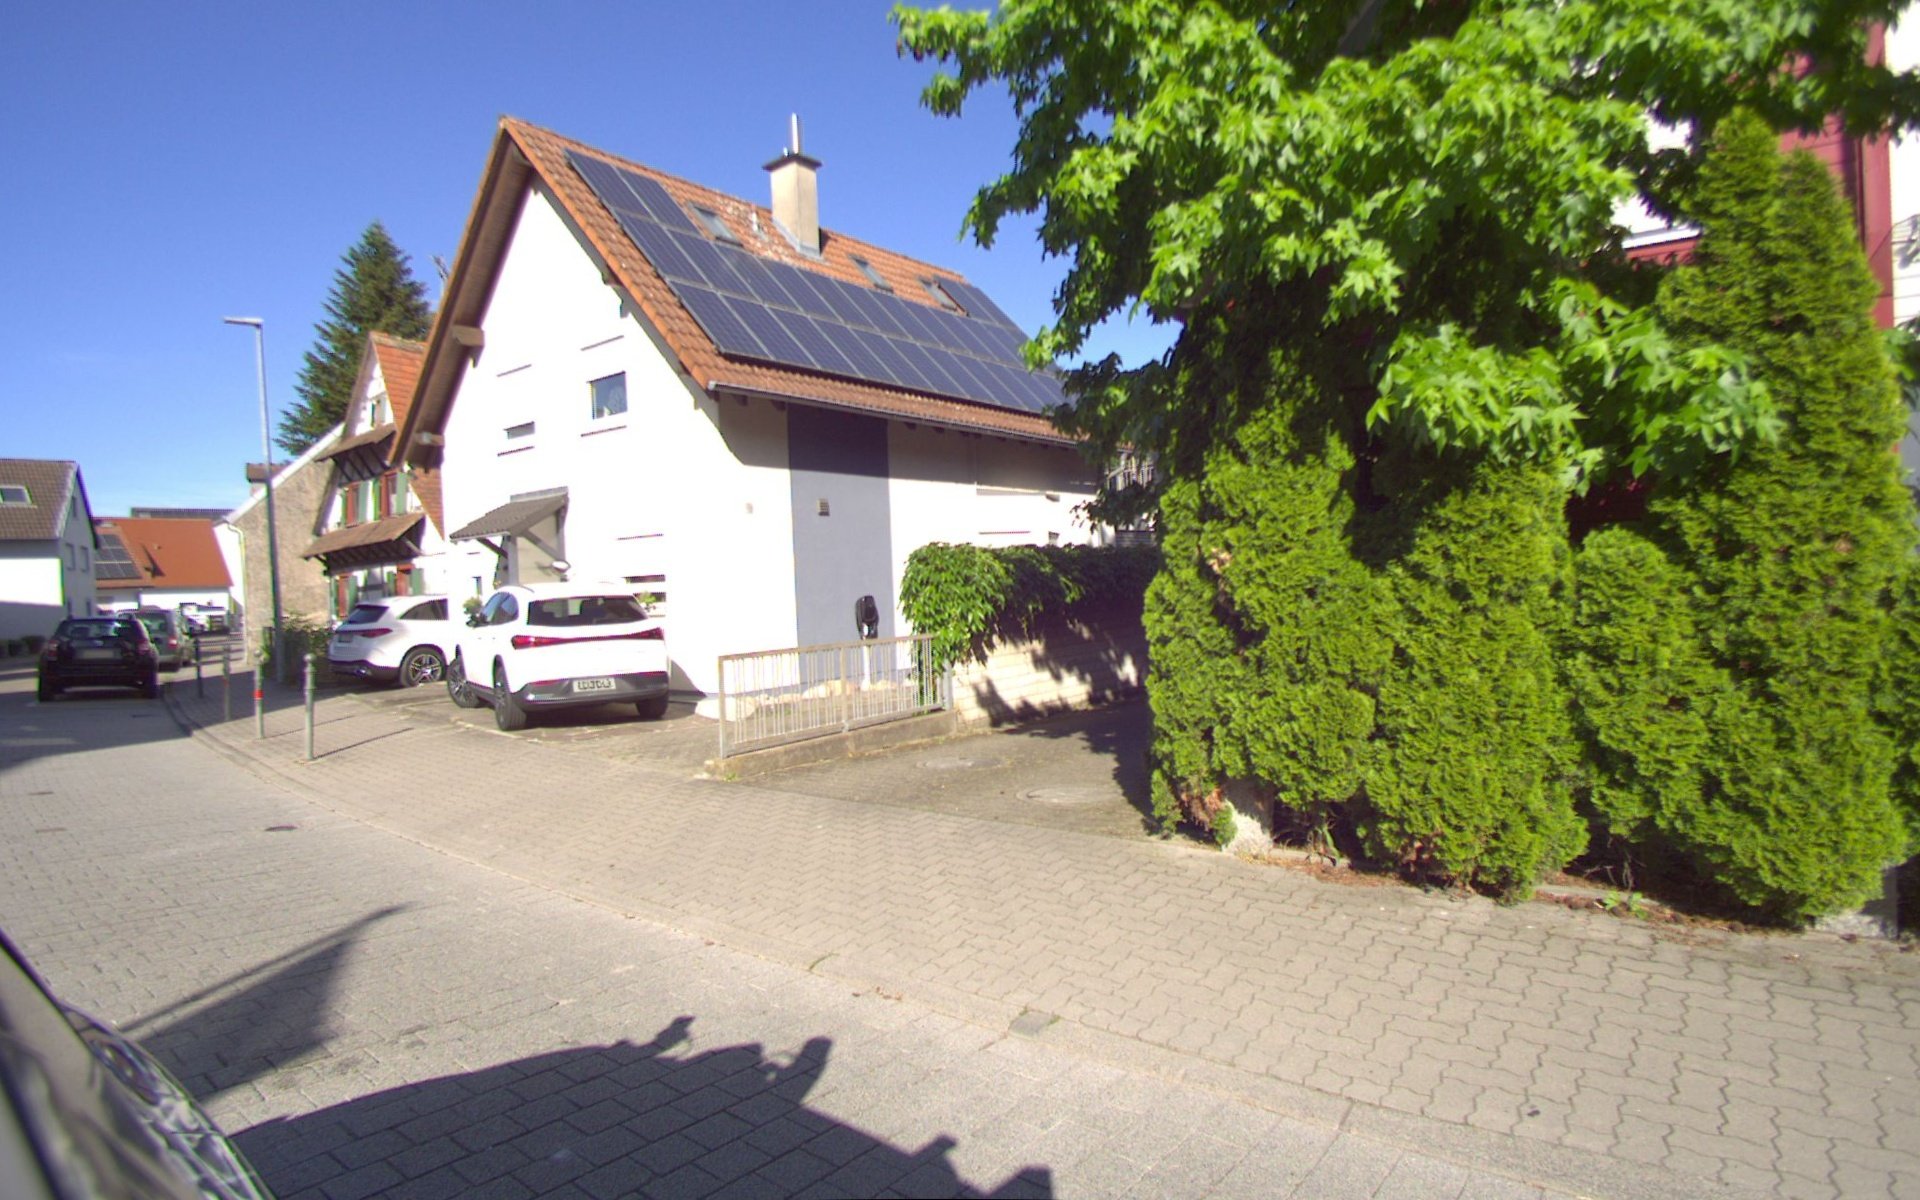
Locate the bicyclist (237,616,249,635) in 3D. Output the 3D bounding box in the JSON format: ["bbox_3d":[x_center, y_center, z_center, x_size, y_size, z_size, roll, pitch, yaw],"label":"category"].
[{"bbox_3d":[-51.698,1.854,72.982,0.573,1.330,0.610,-1,-1,-19],"label":"bicyclist"}]

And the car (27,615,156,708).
[{"bbox_3d":[-17.548,1.182,20.600,1.809,1.684,4.361,1,-2,-39],"label":"car"}]

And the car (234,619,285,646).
[{"bbox_3d":[-44.718,2.032,64.678,1.862,1.602,4.013,-1,0,-22],"label":"car"}]

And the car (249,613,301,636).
[{"bbox_3d":[-66.408,2.348,98.138,3.931,2.029,1.847,-2,0,-28],"label":"car"}]

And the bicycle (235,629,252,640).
[{"bbox_3d":[-51.666,2.475,72.987,0.573,0.767,1.805,-1,-1,-19],"label":"bicycle"}]

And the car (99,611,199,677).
[{"bbox_3d":[-23.872,1.274,29.929,1.807,1.803,4.365,1,-2,-32],"label":"car"}]

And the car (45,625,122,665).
[{"bbox_3d":[-37.300,1.885,43.165,1.778,1.488,4.356,-1,0,-32],"label":"car"}]

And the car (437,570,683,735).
[{"bbox_3d":[-5.150,0.544,12.634,1.793,1.607,4.456,-4,2,-35],"label":"car"}]

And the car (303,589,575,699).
[{"bbox_3d":[-9.509,0.736,18.735,1.997,1.600,3.951,-3,2,37],"label":"car"}]
